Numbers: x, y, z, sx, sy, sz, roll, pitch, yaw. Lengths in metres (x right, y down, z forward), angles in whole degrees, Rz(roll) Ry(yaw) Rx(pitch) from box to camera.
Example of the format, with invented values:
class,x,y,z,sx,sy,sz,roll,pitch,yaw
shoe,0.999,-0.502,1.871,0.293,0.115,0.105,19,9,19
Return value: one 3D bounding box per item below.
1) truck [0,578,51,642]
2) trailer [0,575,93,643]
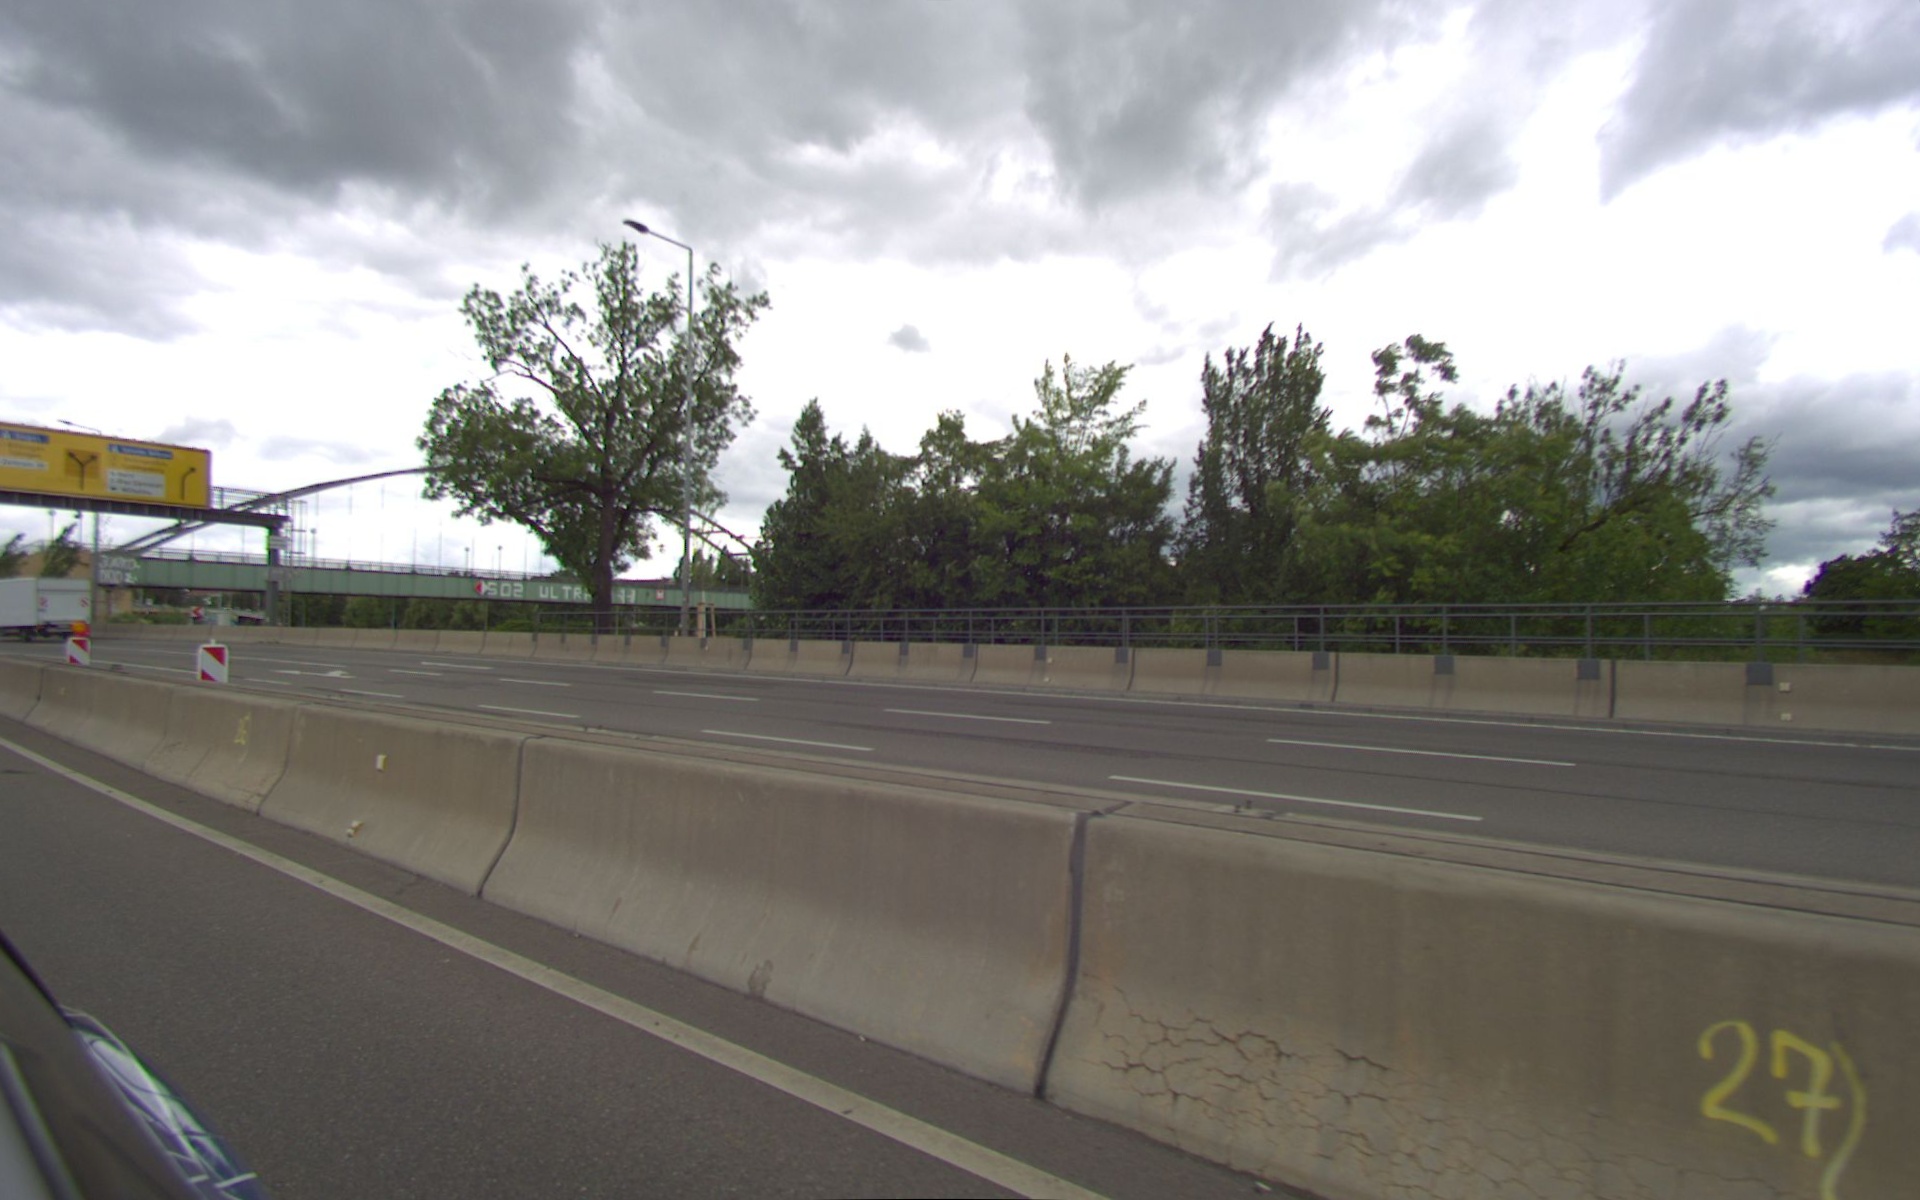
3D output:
class,x,y,z,sx,sy,sz,roll,pitch,yaw
truck,-47.767,0.487,50.816,2.971,3.137,2.260,-1,0,26
trailer,-45.348,0.444,49.632,5.681,3.161,2.260,-1,0,27
